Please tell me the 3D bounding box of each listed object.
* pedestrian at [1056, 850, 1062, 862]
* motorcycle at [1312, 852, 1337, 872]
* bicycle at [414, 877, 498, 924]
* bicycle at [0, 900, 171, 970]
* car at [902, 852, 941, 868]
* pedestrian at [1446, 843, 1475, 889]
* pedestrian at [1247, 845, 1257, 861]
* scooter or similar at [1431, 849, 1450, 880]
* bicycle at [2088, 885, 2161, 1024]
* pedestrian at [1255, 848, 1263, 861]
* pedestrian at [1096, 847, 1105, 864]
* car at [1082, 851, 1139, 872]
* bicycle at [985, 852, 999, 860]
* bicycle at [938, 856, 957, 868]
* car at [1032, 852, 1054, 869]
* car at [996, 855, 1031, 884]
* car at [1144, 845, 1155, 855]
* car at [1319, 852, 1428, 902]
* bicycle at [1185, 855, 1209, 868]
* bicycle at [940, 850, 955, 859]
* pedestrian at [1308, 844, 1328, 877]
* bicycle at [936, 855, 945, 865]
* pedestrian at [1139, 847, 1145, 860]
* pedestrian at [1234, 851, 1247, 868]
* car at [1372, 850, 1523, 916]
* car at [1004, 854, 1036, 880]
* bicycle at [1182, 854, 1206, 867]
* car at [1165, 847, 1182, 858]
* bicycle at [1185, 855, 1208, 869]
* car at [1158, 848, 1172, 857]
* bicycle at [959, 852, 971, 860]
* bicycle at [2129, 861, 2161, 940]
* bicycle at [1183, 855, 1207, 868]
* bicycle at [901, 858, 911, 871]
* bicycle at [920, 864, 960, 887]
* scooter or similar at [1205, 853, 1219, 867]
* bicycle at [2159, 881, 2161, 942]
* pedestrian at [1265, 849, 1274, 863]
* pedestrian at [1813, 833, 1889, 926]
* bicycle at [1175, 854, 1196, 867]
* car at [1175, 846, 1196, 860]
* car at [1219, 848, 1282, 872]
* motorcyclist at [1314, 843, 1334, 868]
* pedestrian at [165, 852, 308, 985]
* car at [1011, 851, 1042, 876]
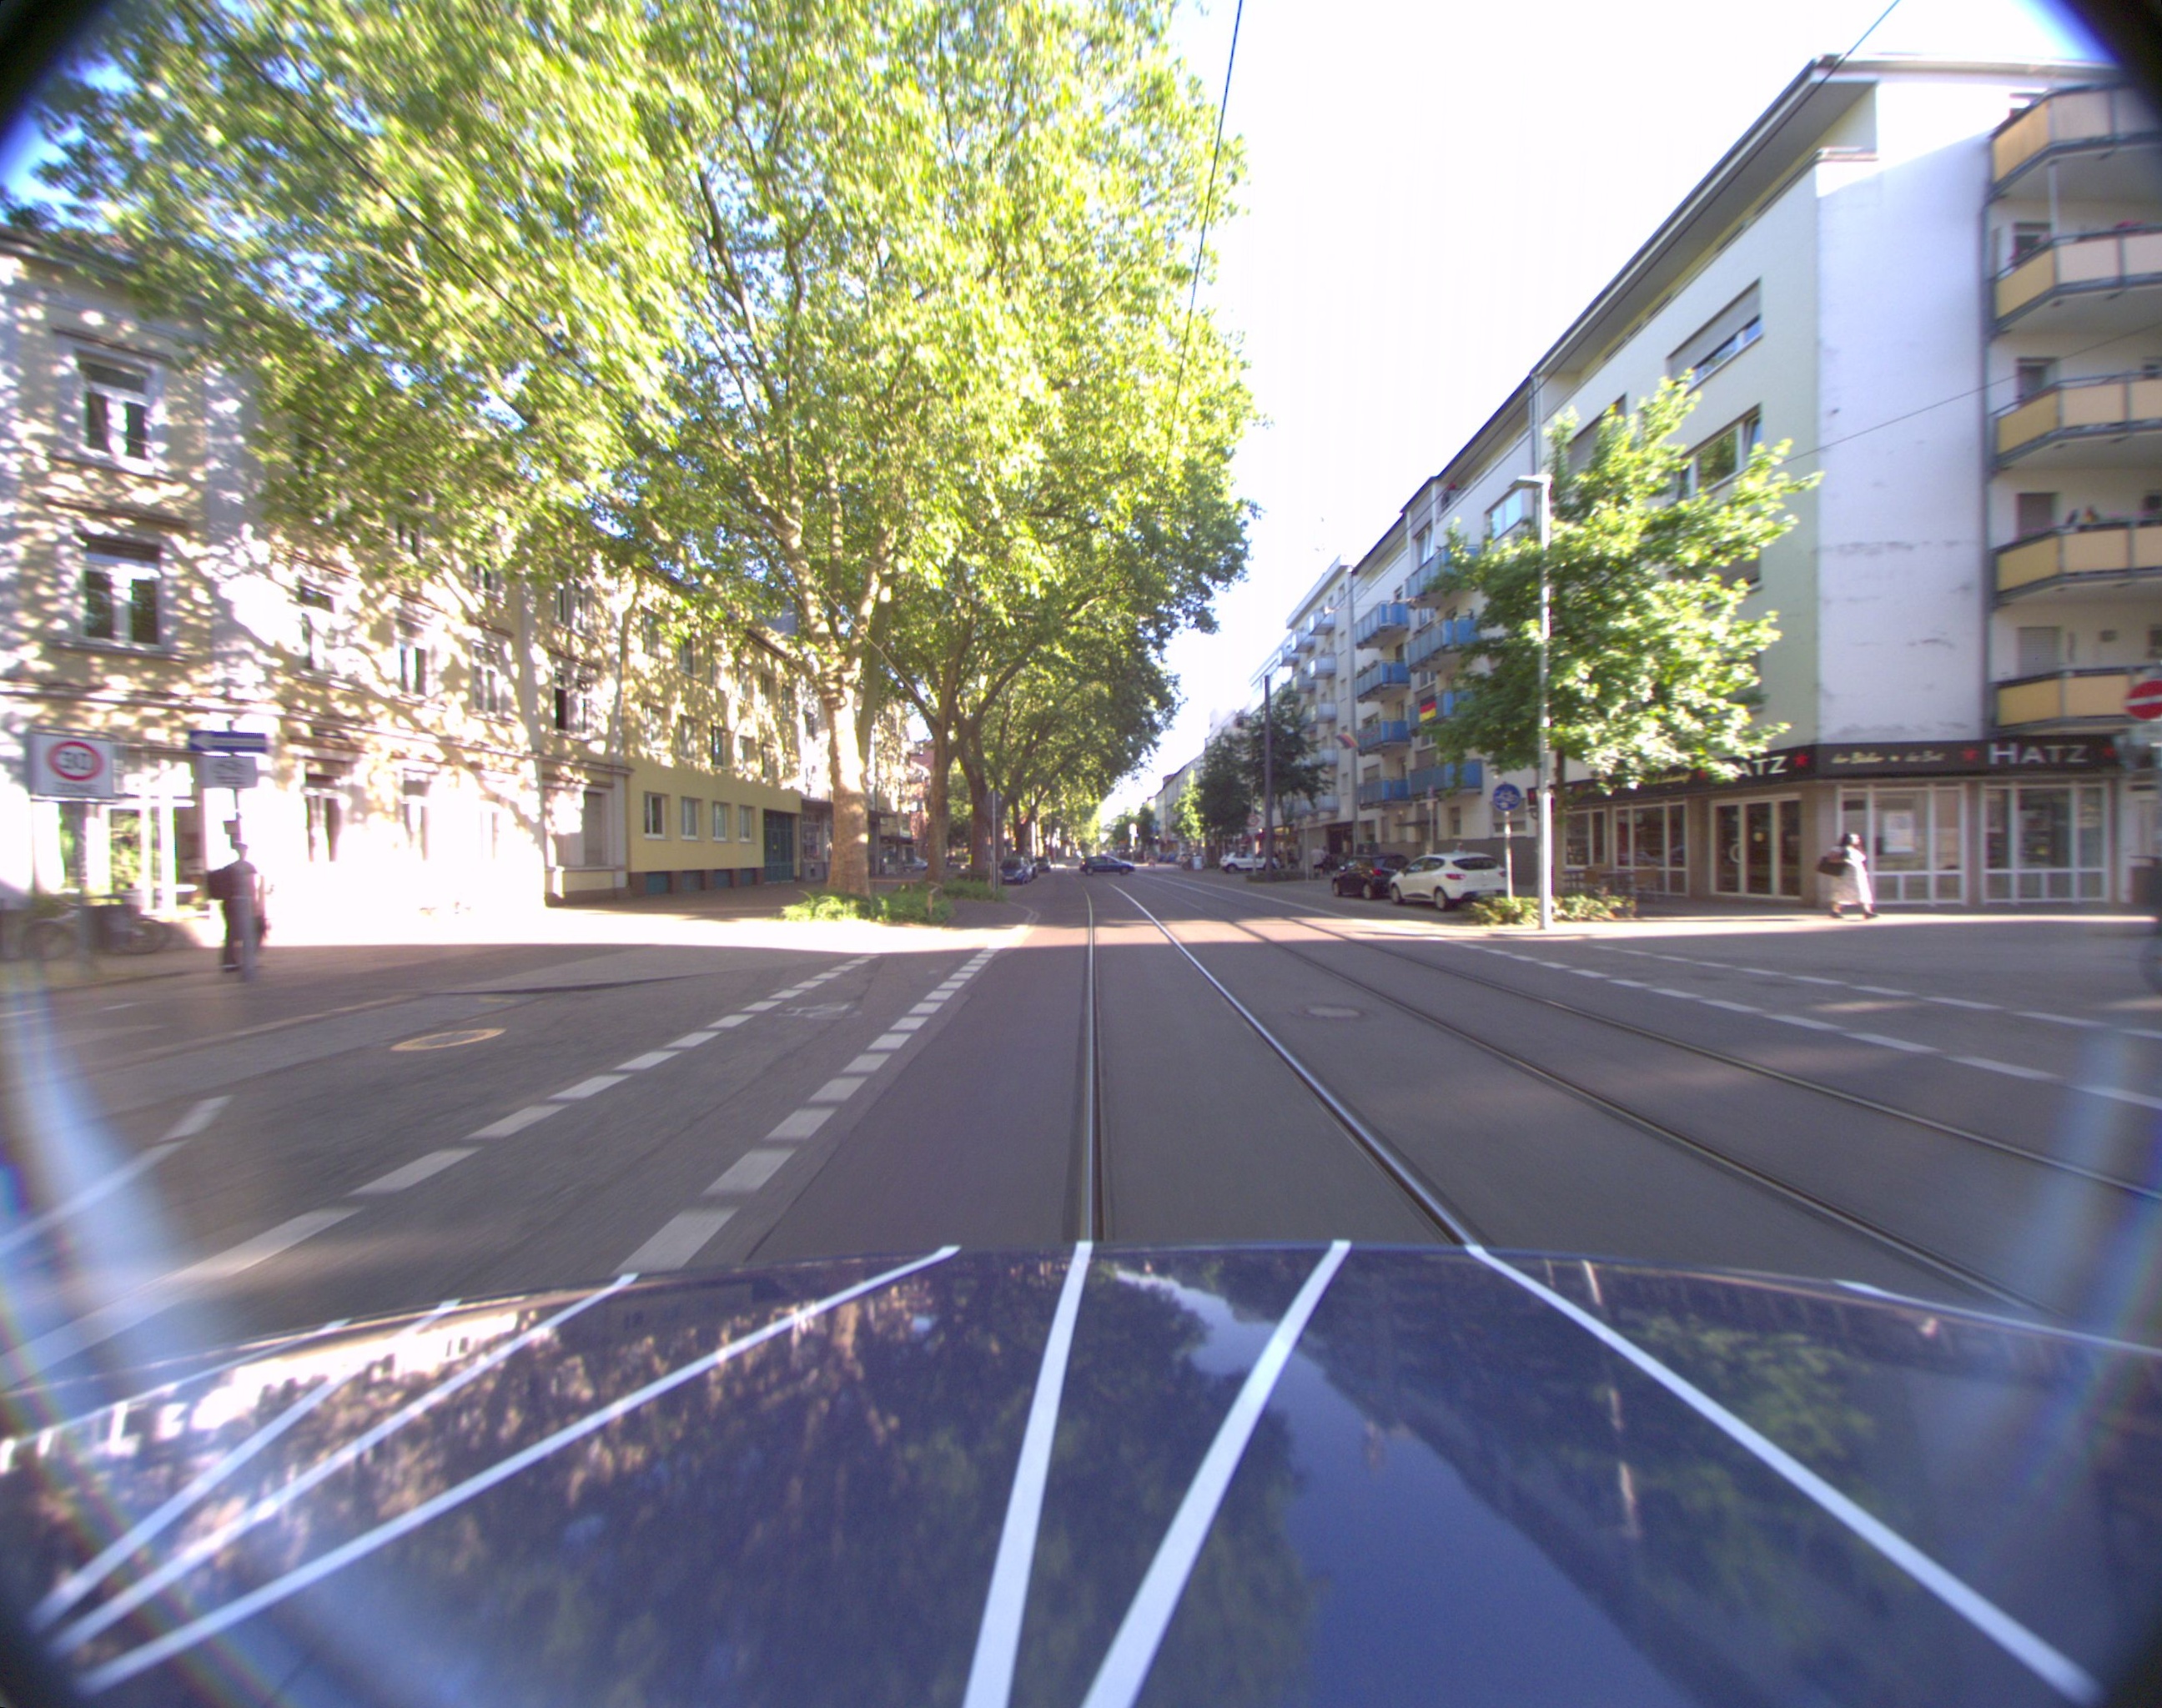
[{"bbox_3d":[-3.175,0.256,108.759,0.768,1.650,0.917,-1,1,0],"label":"pedestrian"},{"bbox_3d":[13.987,0.446,43.701,0.851,1.157,1.915,-1,1,2],"label":"motorcycle"},{"bbox_3d":[-16.298,1.179,19.877,0.584,1.098,1.922,1,1,0],"label":"bicycle"},{"bbox_3d":[-17.229,1.372,13.104,1.838,1.001,0.568,-3,2,-34],"label":"bicycle"},{"bbox_3d":[-17.668,0.679,84.387,3.871,1.683,1.866,-1,1,1],"label":"car"},{"bbox_3d":[14.042,0.436,28.129,0.665,1.681,0.748,-1,1,-1],"label":"pedestrian"},{"bbox_3d":[16.824,-0.113,74.846,0.727,1.547,0.768,-1,1,-5],"label":"pedestrian"},{"bbox_3d":[15.244,0.416,32.240,0.376,1.282,1.237,1,1,8],"label":"scooter or similar"},{"bbox_3d":[10.612,0.841,6.328,2.800,1.150,0.922,-1,1,10],"label":"bicycle"},{"bbox_3d":[15.958,0.042,68.002,0.513,1.191,0.563,-1,1,-15],"label":"pedestrian"},{"bbox_3d":[1.955,0.150,75.482,0.759,1.661,0.768,-1,1,-5],"label":"pedestrian"},{"bbox_3d":[2.208,0.546,57.716,4.223,1.429,1.870,-2,1,0],"label":"car"},{"bbox_3d":[-13.181,0.366,112.861,2.036,1.150,0.572,1,1,1],"label":"bicycle"},{"bbox_3d":[-13.430,0.799,76.563,1.799,1.150,0.744,0,1,-21],"label":"bicycle"},{"bbox_3d":[-3.431,0.598,69.746,1.769,1.454,5.011,-1,1,-1],"label":"car"},{"bbox_3d":[-3.766,0.828,42.968,1.567,1.510,2.910,0,1,3],"label":"car"},{"bbox_3d":[13.629,-0.828,150.988,1.808,1.923,4.049,-1,0,-1],"label":"car"},{"bbox_3d":[9.622,0.687,25.310,1.718,1.455,3.997,-2,1,-6],"label":"car"},{"bbox_3d":[9.468,0.608,62.241,1.834,1.001,0.657,-2,1,-4],"label":"bicycle"},{"bbox_3d":[-17.598,0.011,100.115,1.930,1.150,0.573,1,1,16],"label":"bicycle"},{"bbox_3d":[12.400,0.338,39.815,0.765,1.681,0.794,-1,1,-1],"label":"pedestrian"},{"bbox_3d":[-16.481,0.652,89.224,0.601,1.150,1.698,1,1,4],"label":"bicycle"},{"bbox_3d":[7.451,-0.050,92.448,0.655,1.576,0.772,-1,1,1],"label":"pedestrian"},{"bbox_3d":[11.916,0.413,56.824,0.714,1.290,0.746,-1,1,-13],"label":"pedestrian"},{"bbox_3d":[9.750,0.691,20.649,1.718,1.455,4.375,-4,1,-3],"label":"car"},{"bbox_3d":[-3.785,0.784,47.505,1.822,1.427,4.601,0,1,-3],"label":"car"},{"bbox_3d":[9.521,0.579,64.018,1.834,1.001,0.657,-2,1,-4],"label":"bicycle"},{"bbox_3d":[12.923,-0.186,106.123,1.961,1.535,4.388,0,0,1],"label":"car"},{"bbox_3d":[9.227,0.637,60.892,1.696,1.001,0.657,-2,1,-4],"label":"bicycle"},{"bbox_3d":[12.897,-0.239,117.353,1.799,1.455,4.282,0,0,1],"label":"car"},{"bbox_3d":[-17.335,0.303,113.780,1.681,1.150,0.572,1,1,6],"label":"bicycle"},{"bbox_3d":[16.840,0.695,11.044,1.947,1.150,0.573,1,1,15],"label":"bicycle"},{"bbox_3d":[9.479,0.590,63.373,1.834,1.001,0.657,-2,1,-4],"label":"bicycle"},{"bbox_3d":[-14.734,0.884,63.999,0.572,0.991,1.779,1,1,-4],"label":"bicycle"},{"bbox_3d":[-6.789,1.016,36.557,1.964,1.000,0.512,2,2,27],"label":"bicycle"},{"bbox_3d":[11.019,0.498,64.009,1.082,1.169,0.498,-2,1,-1],"label":"scooter or similar"},{"bbox_3d":[16.739,0.735,10.642,1.947,1.150,0.573,1,1,15],"label":"bicycle"},{"bbox_3d":[15.884,0.151,64.069,0.514,1.191,0.562,-1,1,-28],"label":"pedestrian"},{"bbox_3d":[14.363,0.457,14.191,0.665,1.681,0.748,-1,1,-1],"label":"pedestrian"},{"bbox_3d":[9.089,0.565,65.949,1.696,1.001,0.657,-2,1,-4],"label":"bicycle"},{"bbox_3d":[12.916,-0.111,94.018,1.883,1.641,4.357,-3,1,0],"label":"car"},{"bbox_3d":[11.859,0.406,53.436,4.022,1.467,1.852,-2,1,3],"label":"car"},{"bbox_3d":[13.971,0.093,43.748,0.875,1.432,1.016,-1,1,2],"label":"motorcyclist"},{"bbox_3d":[-12.470,0.900,11.272,0.768,1.856,1.188,-1,1,-3],"label":"pedestrian"},{"bbox_3d":[-3.765,0.619,52.956,1.862,1.594,4.780,0,1,-1],"label":"car"}]
